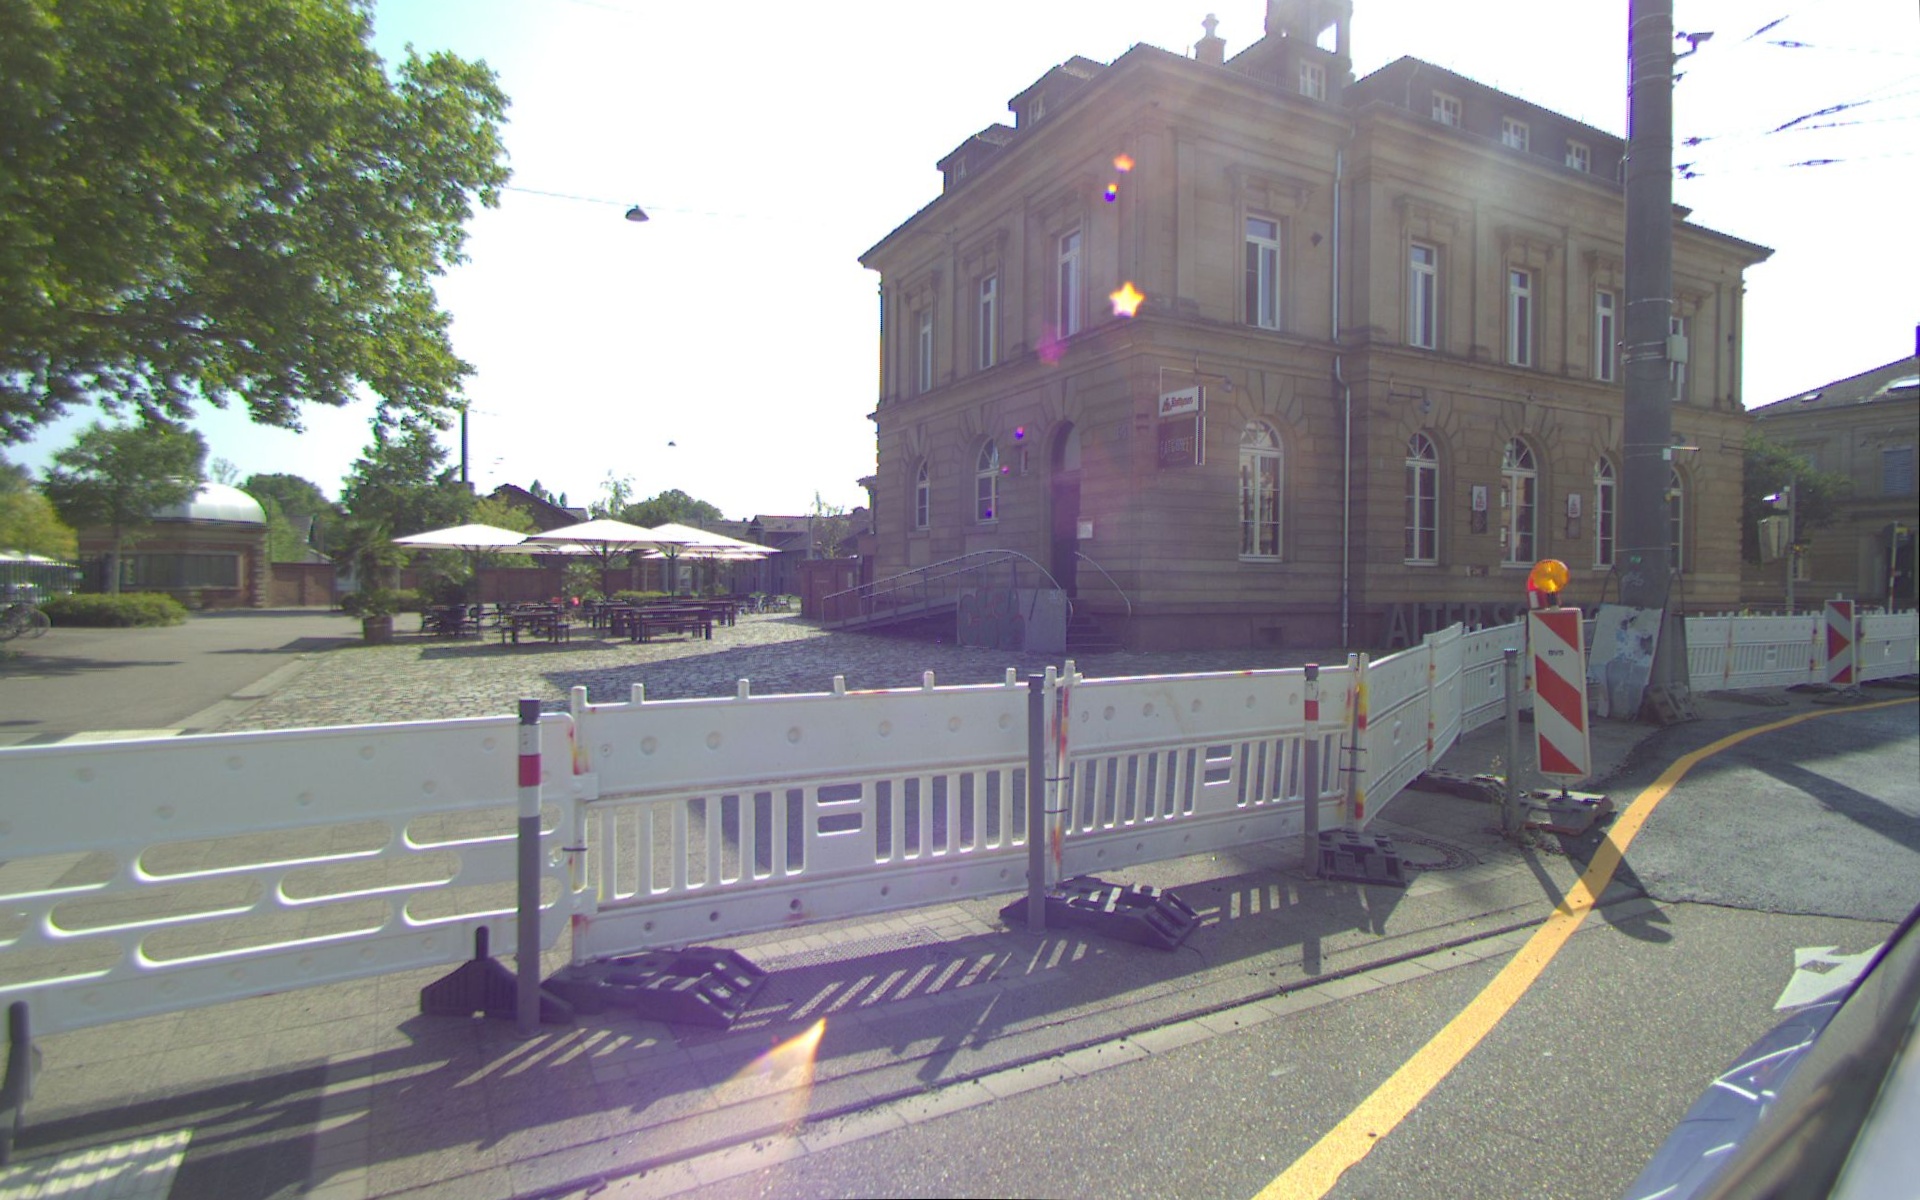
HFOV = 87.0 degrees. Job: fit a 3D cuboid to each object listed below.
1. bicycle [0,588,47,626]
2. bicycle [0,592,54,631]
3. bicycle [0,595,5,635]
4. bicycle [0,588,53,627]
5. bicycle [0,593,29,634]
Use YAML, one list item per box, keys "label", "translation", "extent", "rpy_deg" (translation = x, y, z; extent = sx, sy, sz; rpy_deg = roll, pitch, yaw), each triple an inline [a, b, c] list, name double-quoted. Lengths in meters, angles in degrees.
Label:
- label: "bicycle"
  translation: [-24.206, 0.154, 25.425]
  extent: [1.757, 0.911, 0.571]
  rpy_deg: [2, 0, -20]
- label: "bicycle"
  translation: [-22.429, 0.255, 23.651]
  extent: [1.757, 0.871, 0.571]
  rpy_deg: [2, 1, -20]
- label: "bicycle"
  translation: [-21.668, 0.304, 21.587]
  extent: [1.757, 0.871, 0.650]
  rpy_deg: [2, 1, -20]
- label: "bicycle"
  translation: [-23.655, 0.177, 24.982]
  extent: [1.757, 0.911, 0.571]
  rpy_deg: [2, 0, -20]
- label: "bicycle"
  translation: [-22.037, 0.282, 22.573]
  extent: [1.757, 0.871, 0.571]
  rpy_deg: [2, 1, -20]
